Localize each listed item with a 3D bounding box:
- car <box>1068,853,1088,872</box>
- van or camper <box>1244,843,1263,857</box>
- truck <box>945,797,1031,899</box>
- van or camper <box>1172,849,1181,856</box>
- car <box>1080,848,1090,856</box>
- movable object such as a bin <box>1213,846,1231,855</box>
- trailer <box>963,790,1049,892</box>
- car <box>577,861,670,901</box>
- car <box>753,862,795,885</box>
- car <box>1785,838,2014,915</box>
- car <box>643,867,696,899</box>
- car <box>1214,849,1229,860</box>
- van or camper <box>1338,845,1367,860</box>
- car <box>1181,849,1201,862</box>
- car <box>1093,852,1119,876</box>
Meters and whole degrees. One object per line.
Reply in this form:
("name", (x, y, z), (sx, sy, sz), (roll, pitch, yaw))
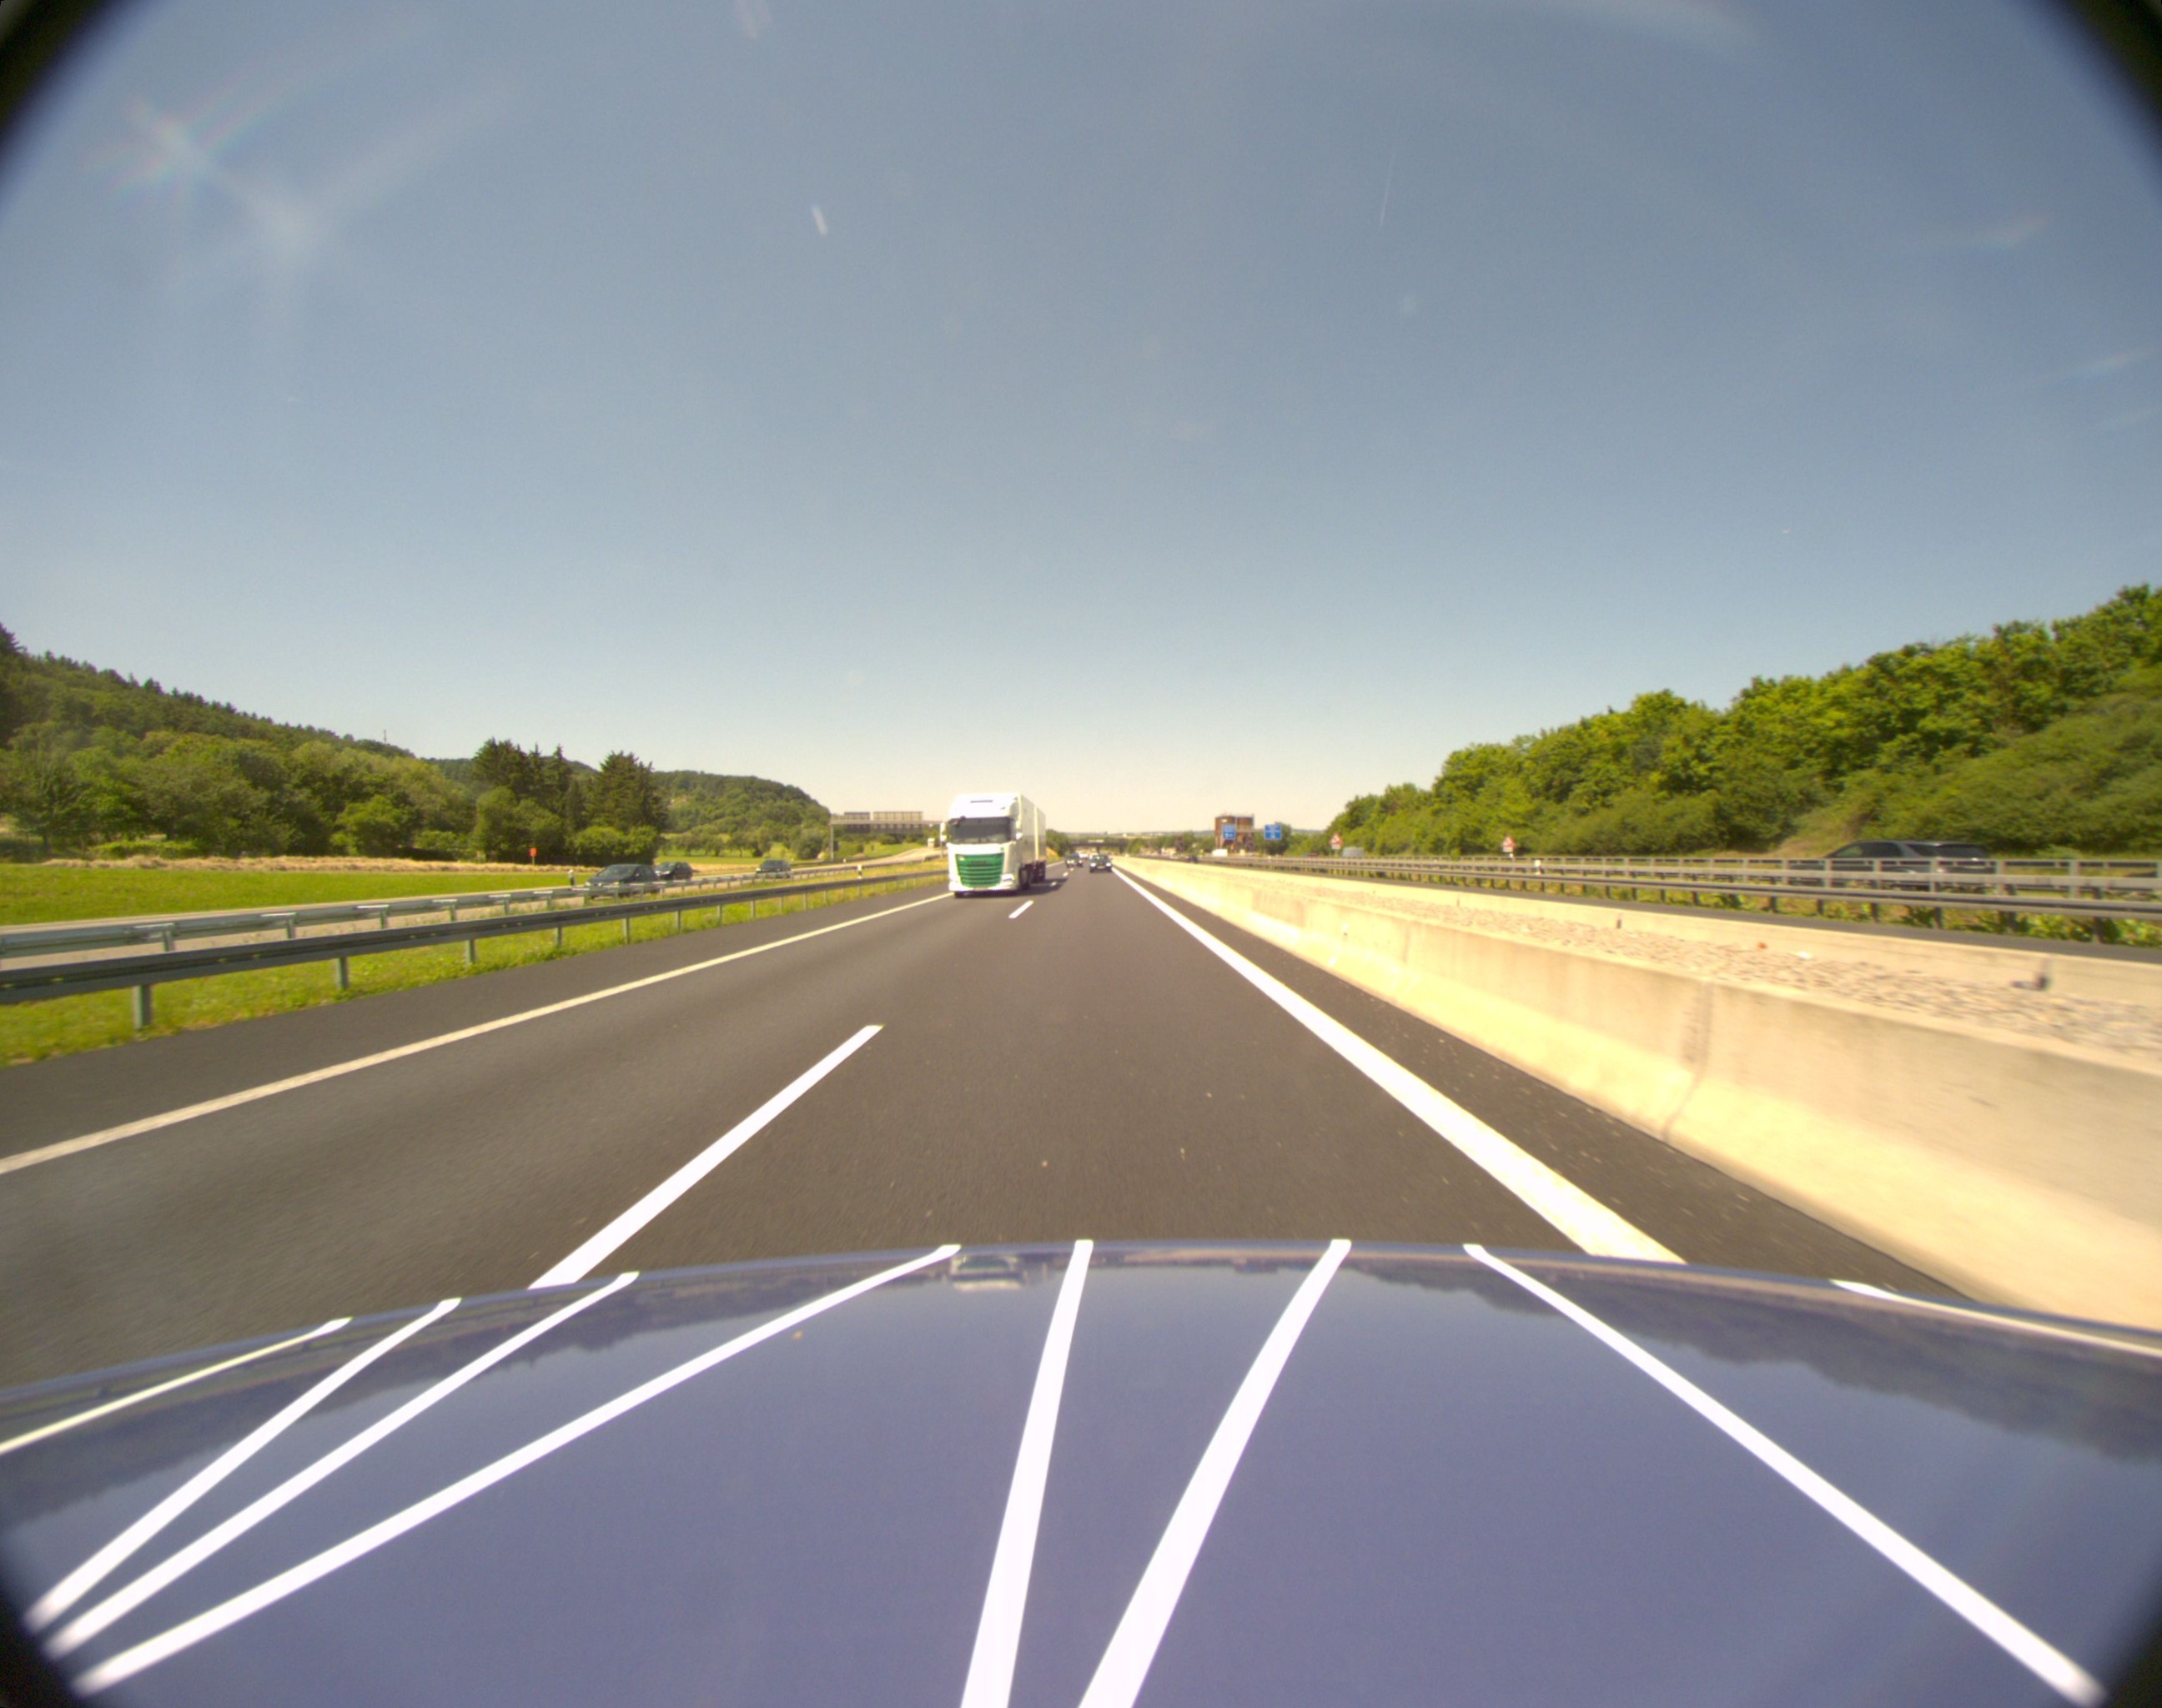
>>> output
("car", (-0.316, 0.928, 85.402), (1.998, 2.002, 3.999), (-2, 1, 1))
("van or camper", (26.416, -0.683, 116.416), (1.998, 2.002, 3.999), (-2, 1, 1))
("truck", (-3.512, -0.236, 29.693), (2.649, 3.572, 4.403), (-2, 1, 0))
("van or camper", (33.232, -0.412, 264.217), (2.112, 2.242, 6.966), (-2, 1, 1))
("car", (0.965, -0.409, 164.588), (1.998, 1.574, 4.000), (-3, 1, 2))
("movable object such as a bin", (31.359, -0.776, 169.326), (2.513, 2.002, 6.779), (-2, 1, 0))
("trailer", (-3.453, -0.610, 39.348), (2.663, 4.164, 14.893), (-2, 1, 1))
("car", (-18.905, 1.068, 31.605), (1.782, 1.392, 3.758), (-3, 1, -5))
("car", (-23.155, 1.453, 57.514), (1.892, 1.464, 3.864), (-3, 1, -6))
("car", (24.447, 0.574, 23.036), (1.951, 2.002, 4.764), (-2, 1, 3))
("car", (-29.586, 2.043, 54.710), (2.000, 2.002, 3.996), (-3, 1, -8))
("car", (27.255, 0.039, 147.256), (1.998, 2.002, 5.348), (-2, 1, 1))
("van or camper", (35.021, -0.223, 98.265), (1.998, 1.788, 5.529), (-1, 0, 3))
("car", (13.918, 0.139, 96.581), (1.838, 1.525, 4.158), (-2, 1, -1))
("car", (1.831, 0.733, 56.917), (1.799, 1.574, 3.999), (-2, 1, 1))
